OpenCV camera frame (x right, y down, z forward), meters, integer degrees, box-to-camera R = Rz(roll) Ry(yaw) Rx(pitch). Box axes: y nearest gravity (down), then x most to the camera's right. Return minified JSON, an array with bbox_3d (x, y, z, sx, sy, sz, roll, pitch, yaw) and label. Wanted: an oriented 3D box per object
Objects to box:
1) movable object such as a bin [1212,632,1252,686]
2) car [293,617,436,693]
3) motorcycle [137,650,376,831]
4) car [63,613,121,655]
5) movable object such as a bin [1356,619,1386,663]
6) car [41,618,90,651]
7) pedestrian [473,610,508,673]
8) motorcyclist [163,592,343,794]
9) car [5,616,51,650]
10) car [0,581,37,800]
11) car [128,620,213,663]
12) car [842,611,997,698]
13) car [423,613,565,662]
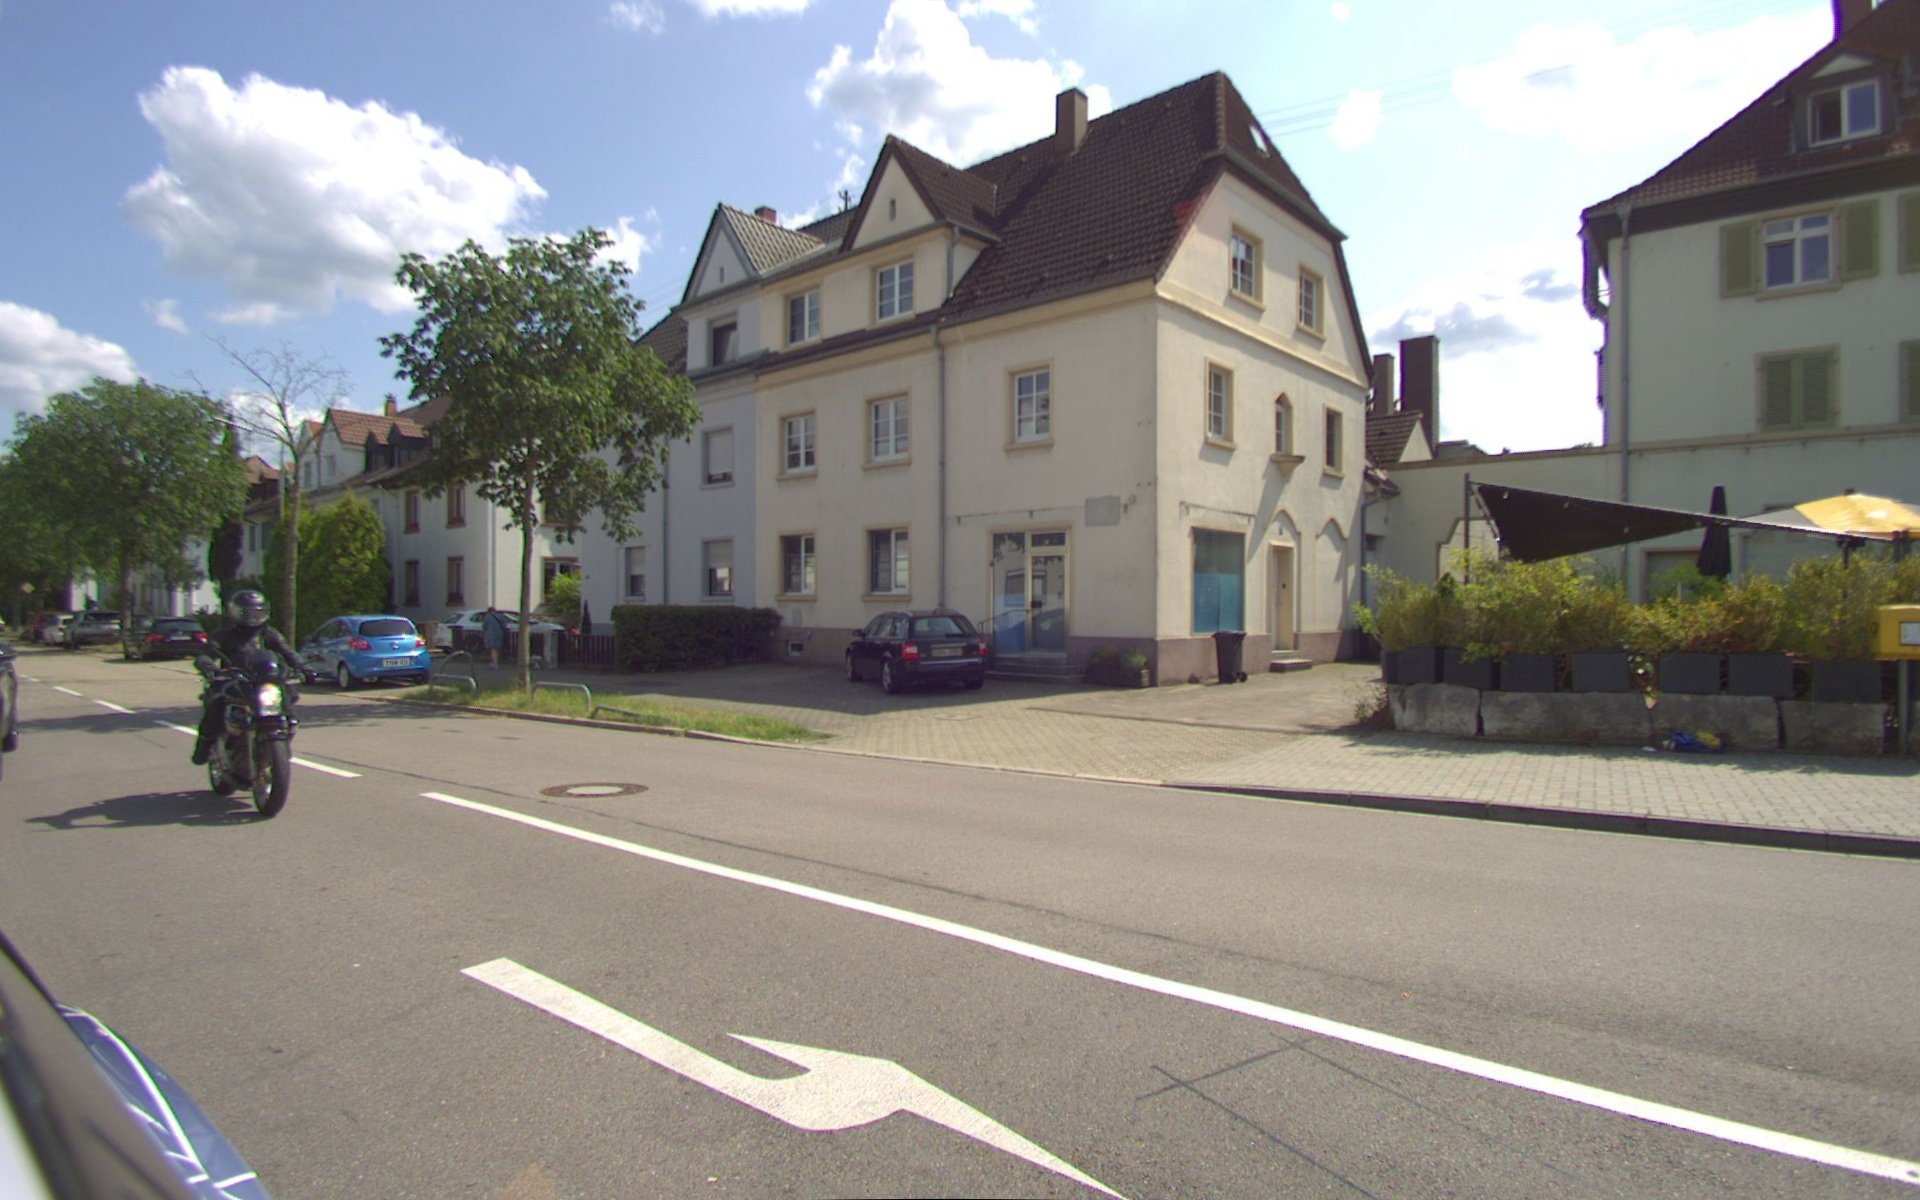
[{"bbox_3d":[5.112,1.100,19.045,0.510,0.979,0.607,-1,-2,41],"label":"movable object such as a bin"},{"bbox_3d":[-12.518,1.094,21.232,3.153,1.473,1.687,-1,-1,41],"label":"car"},{"bbox_3d":[-5.442,0.979,7.763,2.355,1.136,0.833,-1,-1,38],"label":"motorcycle"},{"bbox_3d":[-36.311,1.408,42.289,3.575,1.667,1.541,-1,-2,45],"label":"car"},{"bbox_3d":[9.989,0.990,24.586,0.510,1.053,0.607,-1,-2,41],"label":"movable object such as a bin"},{"bbox_3d":[-40.876,1.553,46.212,1.601,1.436,3.004,0,-1,-43],"label":"car"},{"bbox_3d":[-11.671,1.024,25.136,0.623,1.547,0.619,1,-2,-43],"label":"pedestrian"},{"bbox_3d":[-5.409,0.678,7.740,1.098,1.409,0.815,-4,-2,38],"label":"motorcyclist"},{"bbox_3d":[-47.855,1.684,51.952,3.252,1.667,1.541,-1,-2,45],"label":"car"},{"bbox_3d":[-10.044,0.763,9.345,4.873,1.777,1.753,-1,-1,42],"label":"car"},{"bbox_3d":[-25.840,1.318,33.087,3.919,1.306,1.686,-1,-1,45],"label":"car"},{"bbox_3d":[-0.870,0.914,18.553,1.732,1.397,4.115,0,-1,-19],"label":"car"},{"bbox_3d":[-14.846,1.155,32.353,1.711,1.465,3.753,-1,-1,44],"label":"car"}]
